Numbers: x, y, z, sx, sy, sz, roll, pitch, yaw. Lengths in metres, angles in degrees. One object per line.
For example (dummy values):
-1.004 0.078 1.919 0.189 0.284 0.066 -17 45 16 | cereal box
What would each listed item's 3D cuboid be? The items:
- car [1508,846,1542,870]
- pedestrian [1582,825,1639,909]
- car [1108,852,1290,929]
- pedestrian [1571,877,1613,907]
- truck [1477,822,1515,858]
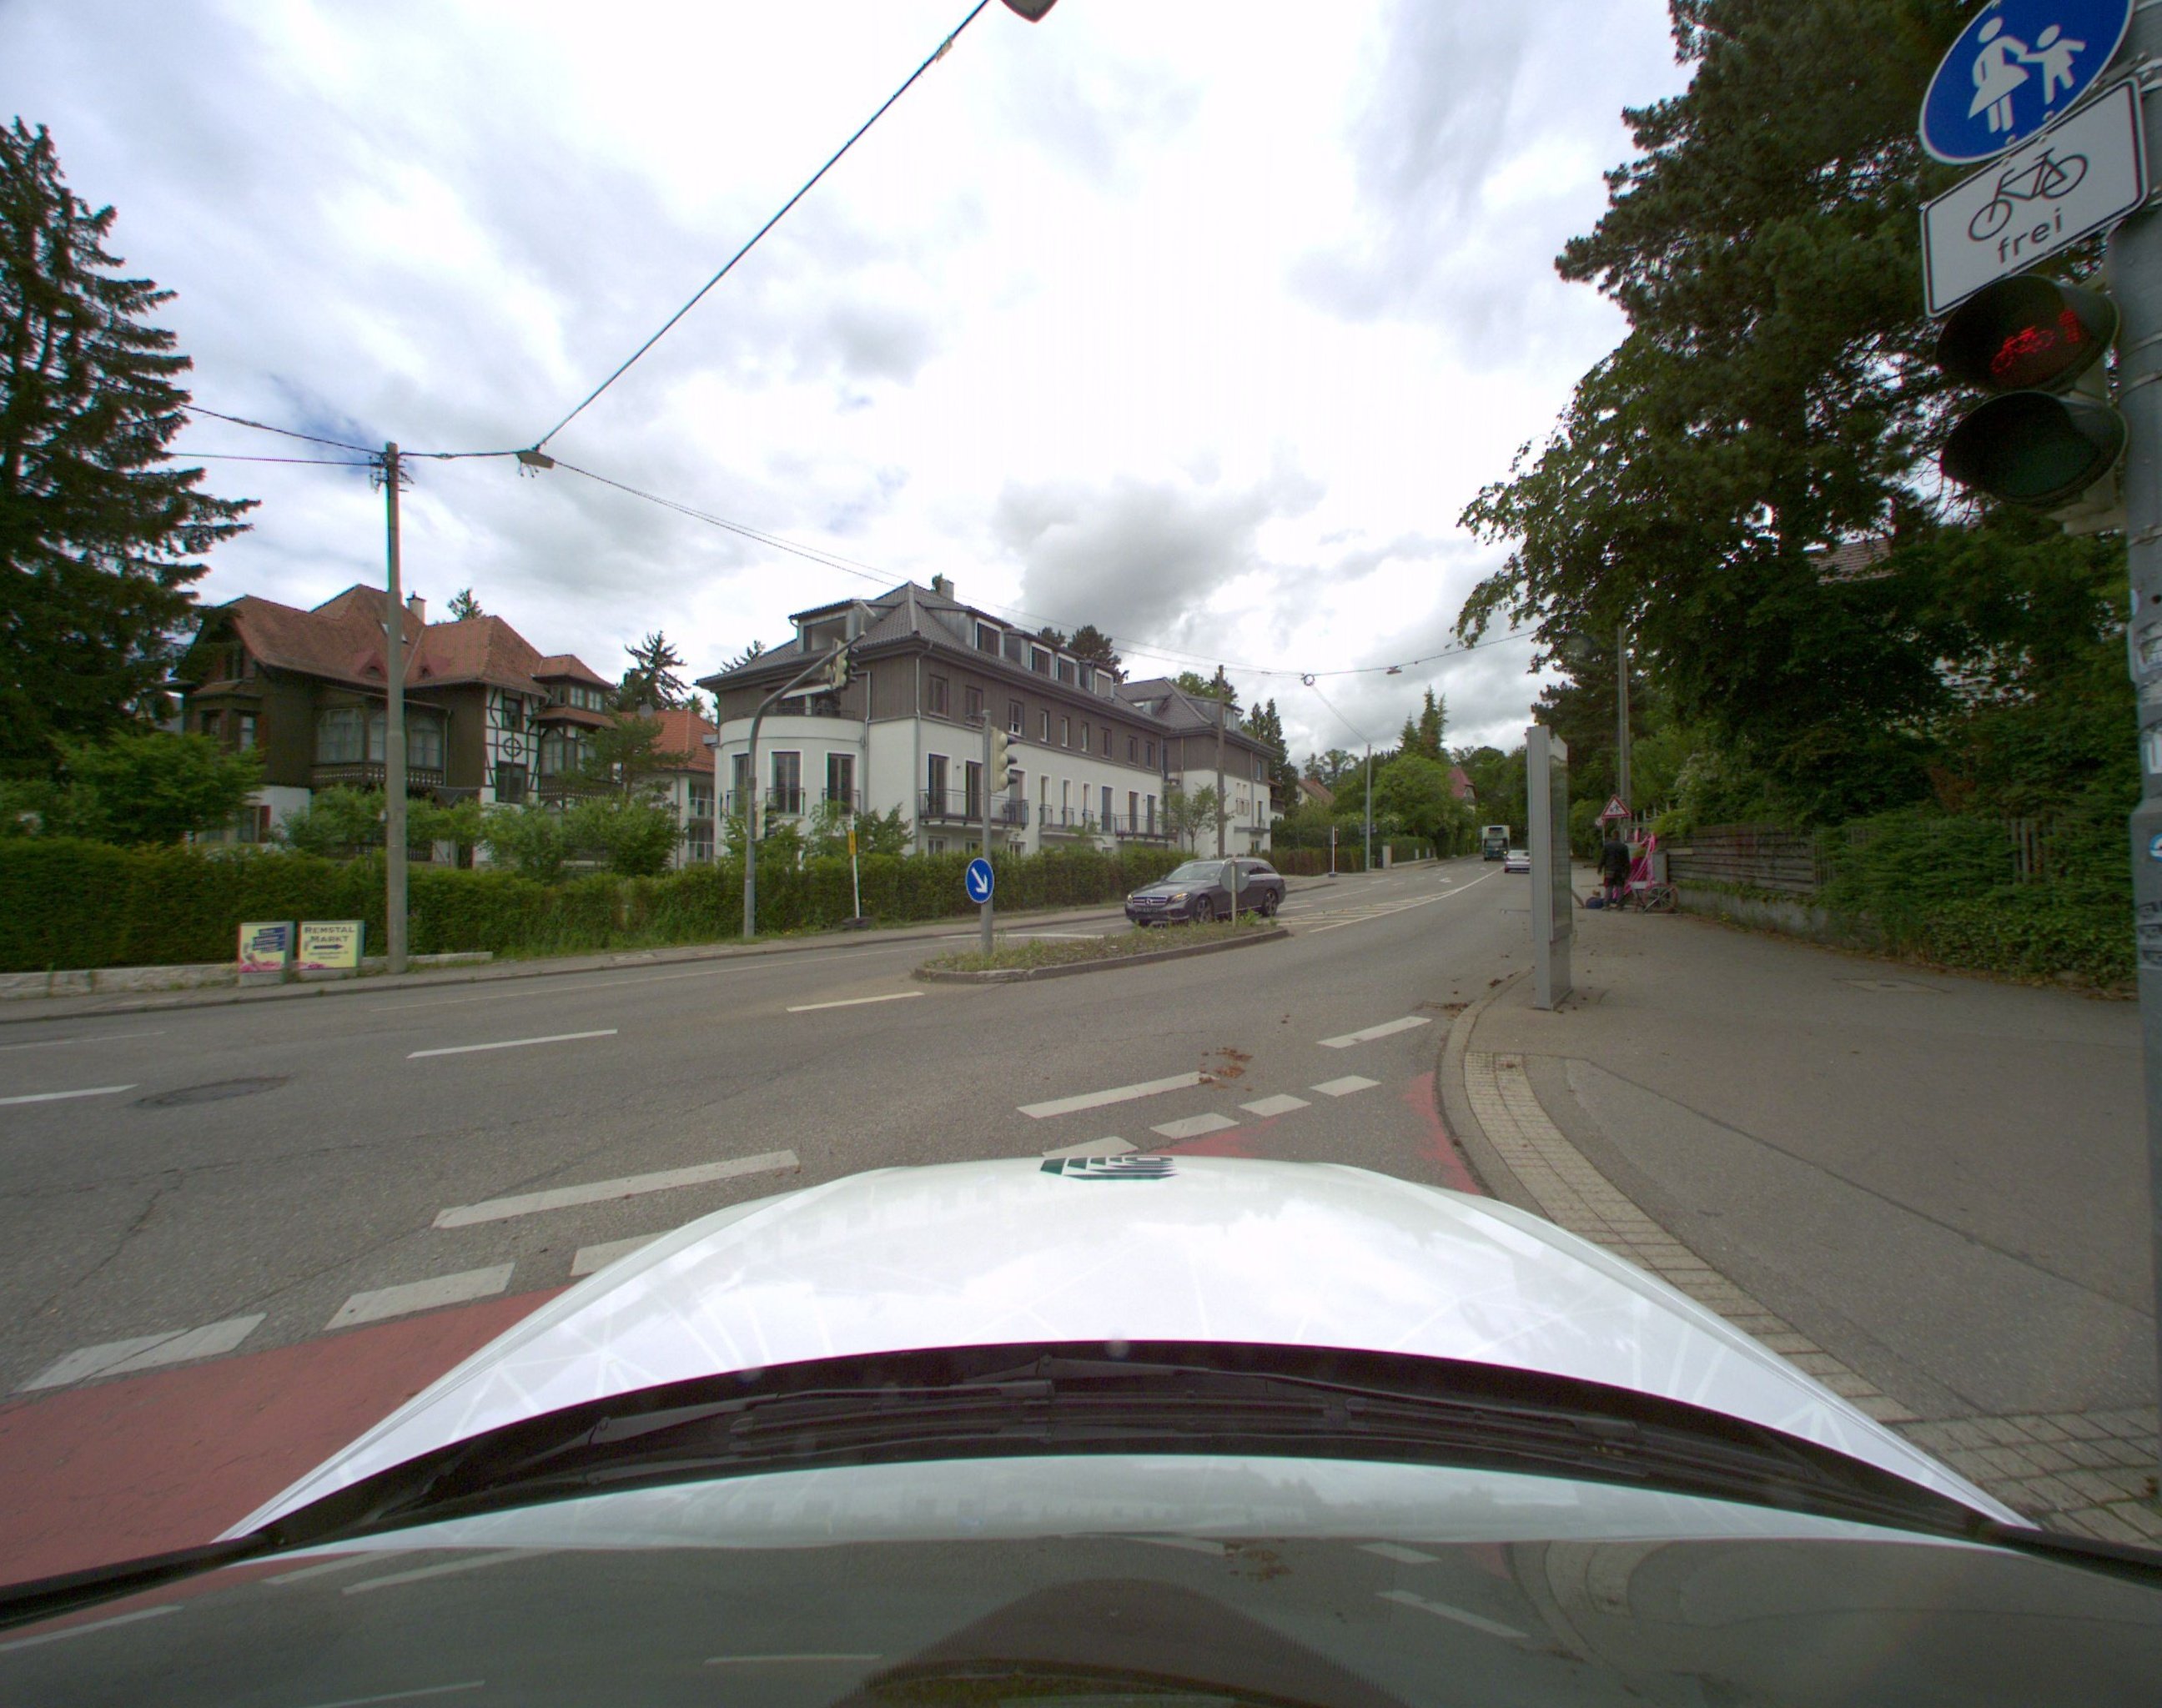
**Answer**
27.691 0.244 50.786 1.780 1.415 4.362 -2 -1 29 | car
12.471 0.291 19.204 0.840 1.923 0.803 -1 0 10 | pedestrian
2.916 0.783 19.244 1.808 1.485 4.777 -3 -1 42 | car
12.616 0.924 20.119 0.645 0.696 0.583 -1 0 -11 | pedestrian
42.807 -1.370 84.183 2.754 3.461 7.532 -1 -1 21 | truck
